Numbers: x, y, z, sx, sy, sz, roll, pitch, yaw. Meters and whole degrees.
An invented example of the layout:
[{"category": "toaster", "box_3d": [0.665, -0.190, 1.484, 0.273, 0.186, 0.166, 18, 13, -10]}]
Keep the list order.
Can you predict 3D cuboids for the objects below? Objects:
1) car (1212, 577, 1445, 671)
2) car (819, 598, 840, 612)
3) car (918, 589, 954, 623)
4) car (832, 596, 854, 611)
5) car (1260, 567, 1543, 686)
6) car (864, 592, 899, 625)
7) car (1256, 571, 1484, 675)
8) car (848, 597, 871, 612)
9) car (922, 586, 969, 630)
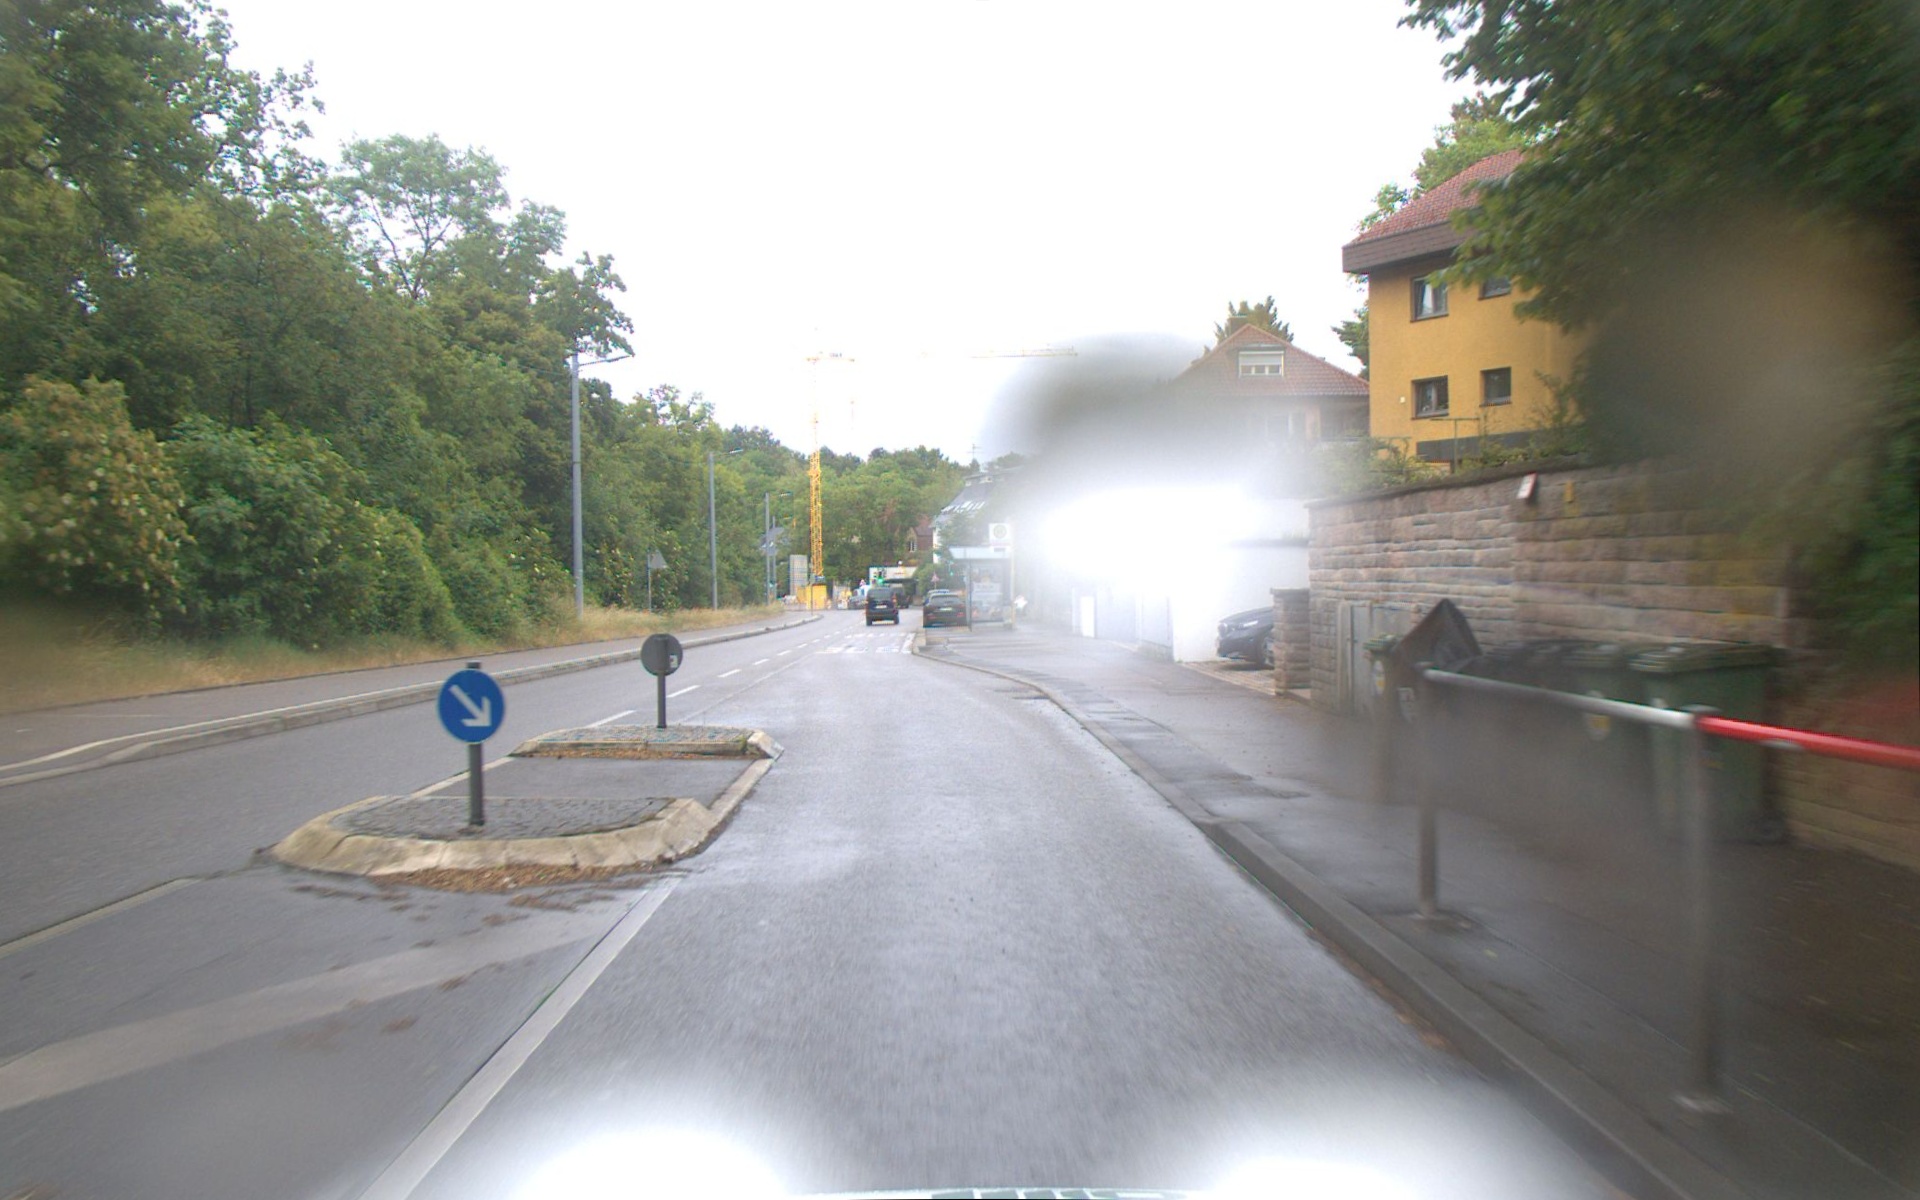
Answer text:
[{"category": "car", "box_3d": [6.386, 0.409, 28.888, 3.694, 1.580, 1.608, 0, 0, -2]}, {"category": "car", "box_3d": [-14.724, 0.561, 186.837, 1.711, 1.579, 3.841, 0, 0, -14]}, {"category": "car", "box_3d": [-1.296, 0.331, 91.503, 1.953, 1.803, 4.114, 0, 0, -1]}, {"category": "car", "box_3d": [-12.864, 0.362, 181.251, 1.711, 1.579, 3.841, 2, -1, -14]}, {"category": "car", "box_3d": [6.361, 0.376, 24.076, 3.655, 1.658, 1.699, 0, 0, -2]}, {"category": "car", "box_3d": [-3.954, 0.432, 84.240, 1.633, 1.621, 3.682, 0, 0, -1]}, {"category": "car", "box_3d": [6.534, 0.339, 26.555, 3.218, 1.506, 1.576, -2, 1, -2]}, {"category": "car", "box_3d": [-10.669, 0.509, 175.295, 1.711, 1.579, 3.841, 0, 0, -14]}, {"category": "car", "box_3d": [-0.607, 0.351, 70.329, 1.953, 1.803, 4.114, 0, 0, -1]}]
